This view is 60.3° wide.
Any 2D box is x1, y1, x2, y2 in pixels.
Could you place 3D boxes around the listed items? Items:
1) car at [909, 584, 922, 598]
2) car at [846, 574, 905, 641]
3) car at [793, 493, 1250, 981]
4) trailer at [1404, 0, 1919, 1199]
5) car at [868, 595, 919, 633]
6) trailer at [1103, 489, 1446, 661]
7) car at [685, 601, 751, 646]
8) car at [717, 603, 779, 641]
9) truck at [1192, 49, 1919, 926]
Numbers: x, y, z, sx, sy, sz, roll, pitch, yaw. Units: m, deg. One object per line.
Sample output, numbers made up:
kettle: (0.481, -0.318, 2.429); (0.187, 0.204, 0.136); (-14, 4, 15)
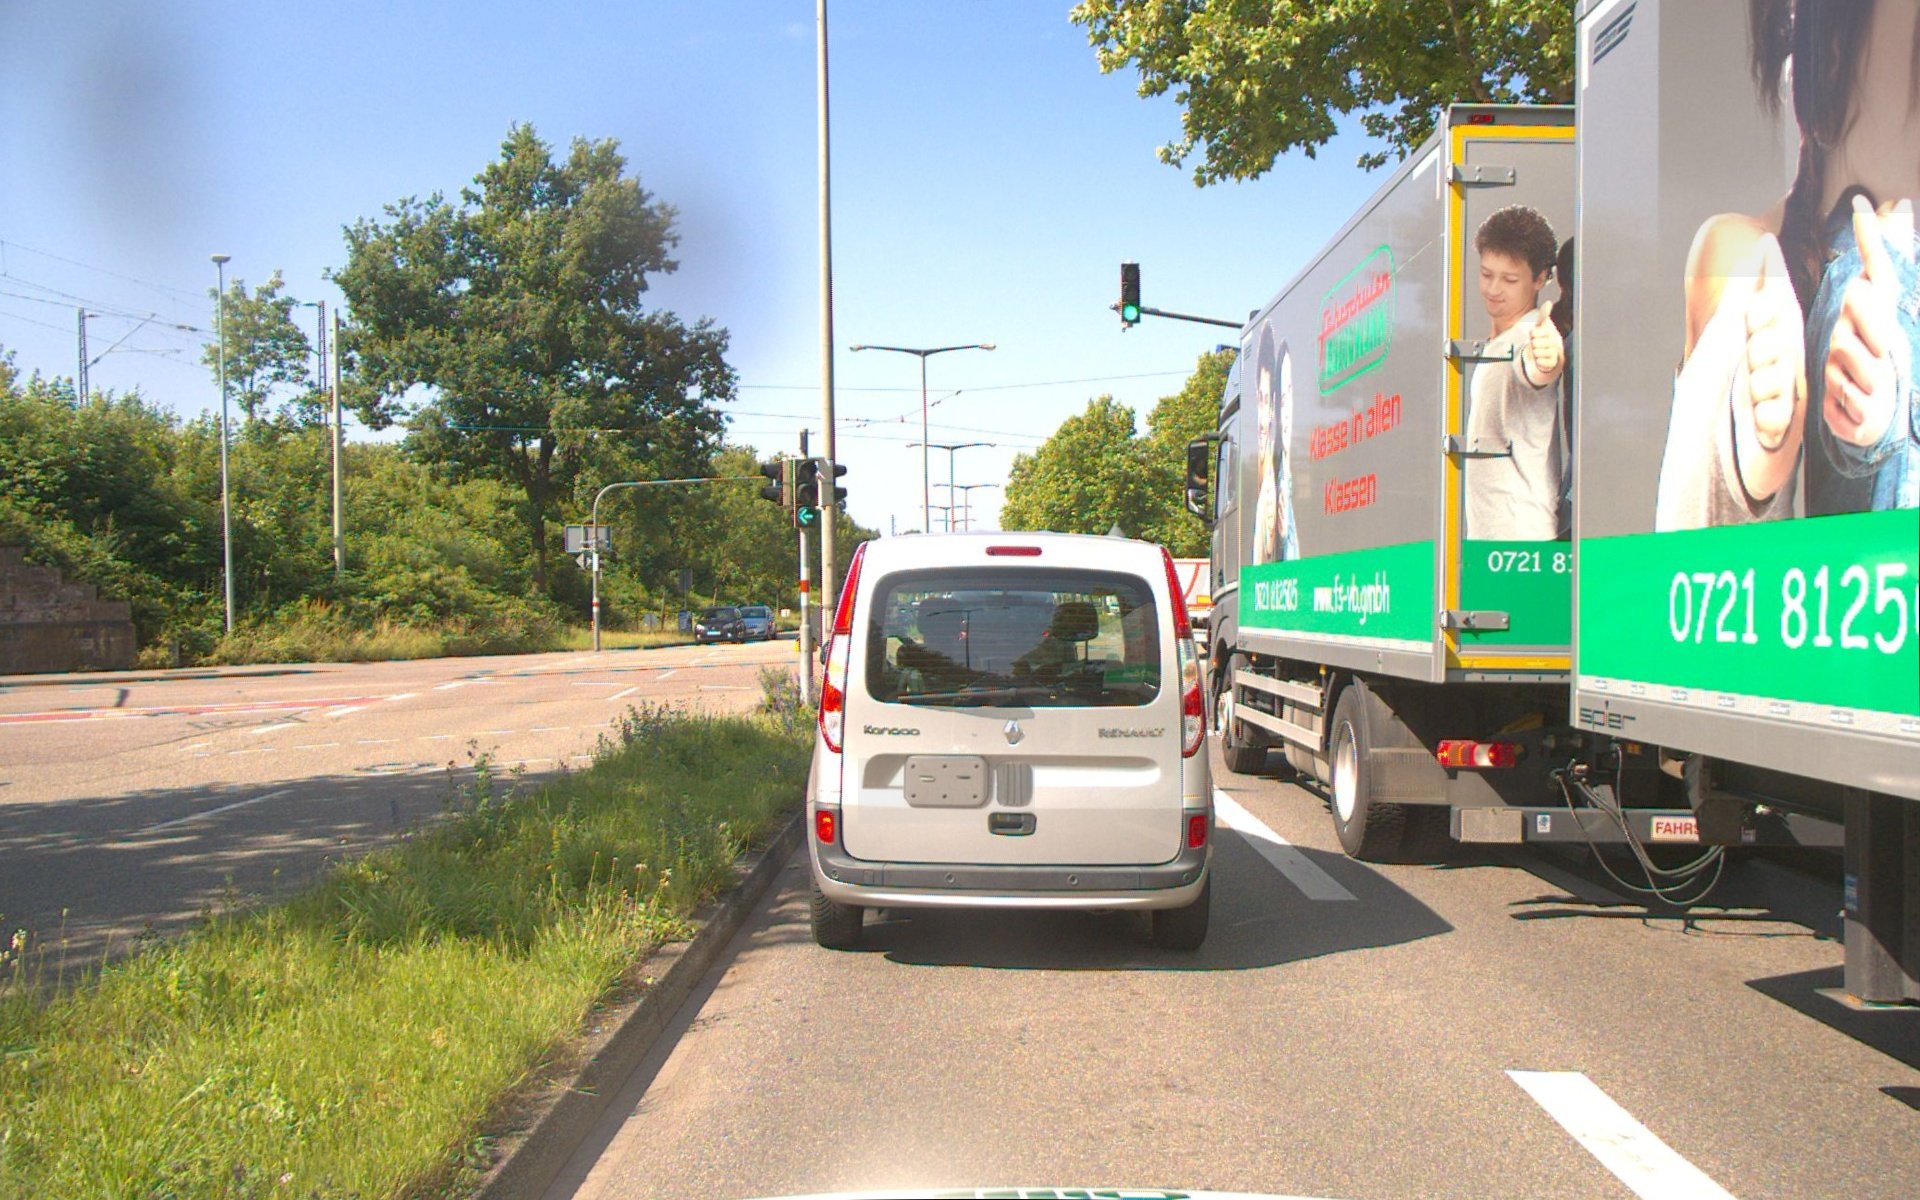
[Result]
car: (-6.822, -1.374, 254.244); (1.849, 2.049, 4.001); (1, 0, 1)
car: (-3.476, 0.312, 68.708); (1.952, 2.653, 5.134); (-1, -1, 2)
car: (0.214, 0.549, 8.439); (1.750, 1.870, 3.999); (1, 0, -1)
trailer: (3.294, -0.537, 3.578); (2.680, 3.945, 7.736); (-1, 0, 1)
car: (-3.027, 0.644, 75.758); (1.952, 1.613, 4.001); (-2, -1, 2)
trailer: (8.285, -0.444, 41.313); (2.854, 3.686, 12.624); (0, -1, 39)
car: (-9.370, 0.913, 64.395); (1.872, 1.670, 3.738); (-1, -1, 2)
car: (-9.167, 0.932, 71.845); (1.952, 1.567, 4.237); (-1, -1, 2)
truck: (3.507, -0.479, 11.852); (2.673, 3.958, 8.724); (0, 0, 2)
